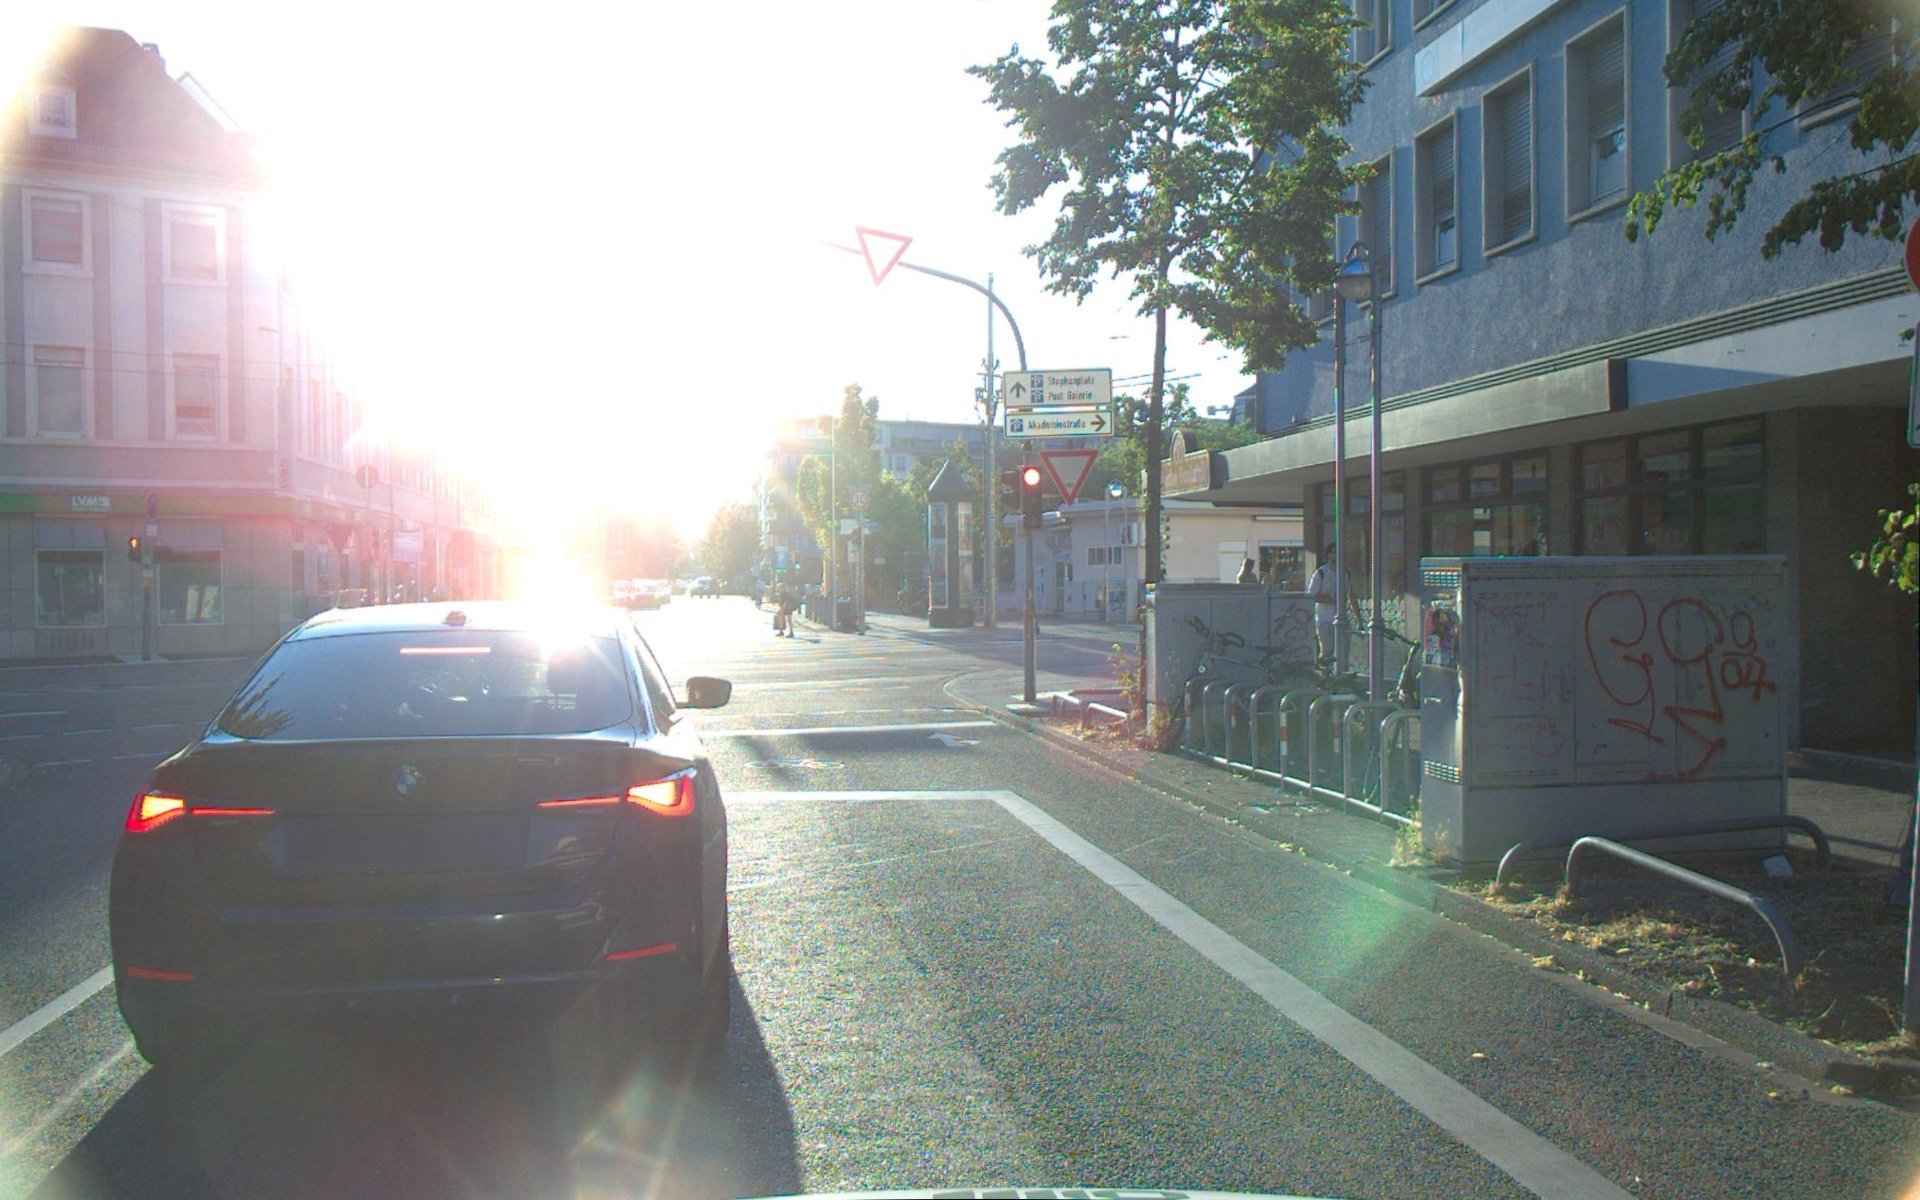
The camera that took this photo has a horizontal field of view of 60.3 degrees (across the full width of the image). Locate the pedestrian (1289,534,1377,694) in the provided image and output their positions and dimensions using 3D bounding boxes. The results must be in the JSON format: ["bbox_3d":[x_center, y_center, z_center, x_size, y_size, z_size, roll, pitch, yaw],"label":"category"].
[{"bbox_3d":[4.483,0.159,19.886,0.820,1.874,0.677,-1,0,-9],"label":"pedestrian"}]

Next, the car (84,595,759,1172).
[{"bbox_3d":[-1.746,0.720,6.455,1.705,1.453,4.214,0,0,-10],"label":"car"}]

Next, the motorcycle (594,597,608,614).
[{"bbox_3d":[-20.241,0.292,93.274,0.564,0.931,2.196,1,0,-8],"label":"motorcycle"}]

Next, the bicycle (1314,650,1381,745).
[{"bbox_3d":[3.596,0.895,15.409,0.244,0.810,1.114,1,0,-6],"label":"bicycle"}]

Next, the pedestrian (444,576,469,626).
[{"bbox_3d":[-19.601,0.028,64.413,0.662,1.909,0.618,1,0,17],"label":"pedestrian"}]

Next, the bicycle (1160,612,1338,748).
[{"bbox_3d":[2.650,0.724,15.186,1.582,1.191,0.318,-1,0,-7],"label":"bicycle"}]

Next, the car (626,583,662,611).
[{"bbox_3d":[-17.770,-0.191,93.098,1.784,1.545,3.992,-1,1,-9],"label":"car"}]

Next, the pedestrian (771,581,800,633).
[{"bbox_3d":[-5.196,0.209,49.163,0.725,1.555,0.468,1,0,-31],"label":"pedestrian"}]

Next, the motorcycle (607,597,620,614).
[{"bbox_3d":[-19.301,0.313,92.091,0.564,0.931,2.196,1,0,-8],"label":"motorcycle"}]

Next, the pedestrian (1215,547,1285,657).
[{"bbox_3d":[5.196,0.023,29.602,0.990,1.892,0.634,-4,2,-29],"label":"pedestrian"}]

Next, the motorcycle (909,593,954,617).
[{"bbox_3d":[-1.163,0.196,67.751,1.644,0.955,0.851,-1,1,-20],"label":"motorcycle"}]

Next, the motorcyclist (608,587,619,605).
[{"bbox_3d":[-19.279,-0.227,92.012,0.564,1.013,0.701,1,0,-9],"label":"motorcyclist"}]

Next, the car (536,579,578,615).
[{"bbox_3d":[-21.112,-0.188,86.777,1.784,1.819,3.992,-1,1,-9],"label":"car"}]

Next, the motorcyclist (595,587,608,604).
[{"bbox_3d":[-20.229,-0.248,93.264,0.564,0.931,2.196,1,0,-8],"label":"motorcyclist"}]

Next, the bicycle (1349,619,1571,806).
[{"bbox_3d":[3.418,0.763,11.322,1.413,1.241,0.383,1,0,-8],"label":"bicycle"}]

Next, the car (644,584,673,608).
[{"bbox_3d":[-20.548,-0.294,112.855,1.784,1.545,3.992,-1,1,-9],"label":"car"}]

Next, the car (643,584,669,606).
[{"bbox_3d":[-22.575,-0.382,122.947,1.784,1.545,3.992,-1,1,-9],"label":"car"}]

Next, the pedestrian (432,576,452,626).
[{"bbox_3d":[-19.881,0.028,63.483,0.631,1.909,0.630,1,0,-9],"label":"pedestrian"}]

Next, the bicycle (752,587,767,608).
[{"bbox_3d":[-11.453,-0.157,94.435,0.541,1.179,2.135,1,0,-16],"label":"bicycle"}]

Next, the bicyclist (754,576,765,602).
[{"bbox_3d":[-11.455,-0.625,94.467,0.541,1.507,0.719,1,0,-16],"label":"bicyclist"}]

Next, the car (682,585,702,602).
[{"bbox_3d":[-24.779,-0.621,153.030,1.784,1.545,3.992,-1,1,-9],"label":"car"}]
